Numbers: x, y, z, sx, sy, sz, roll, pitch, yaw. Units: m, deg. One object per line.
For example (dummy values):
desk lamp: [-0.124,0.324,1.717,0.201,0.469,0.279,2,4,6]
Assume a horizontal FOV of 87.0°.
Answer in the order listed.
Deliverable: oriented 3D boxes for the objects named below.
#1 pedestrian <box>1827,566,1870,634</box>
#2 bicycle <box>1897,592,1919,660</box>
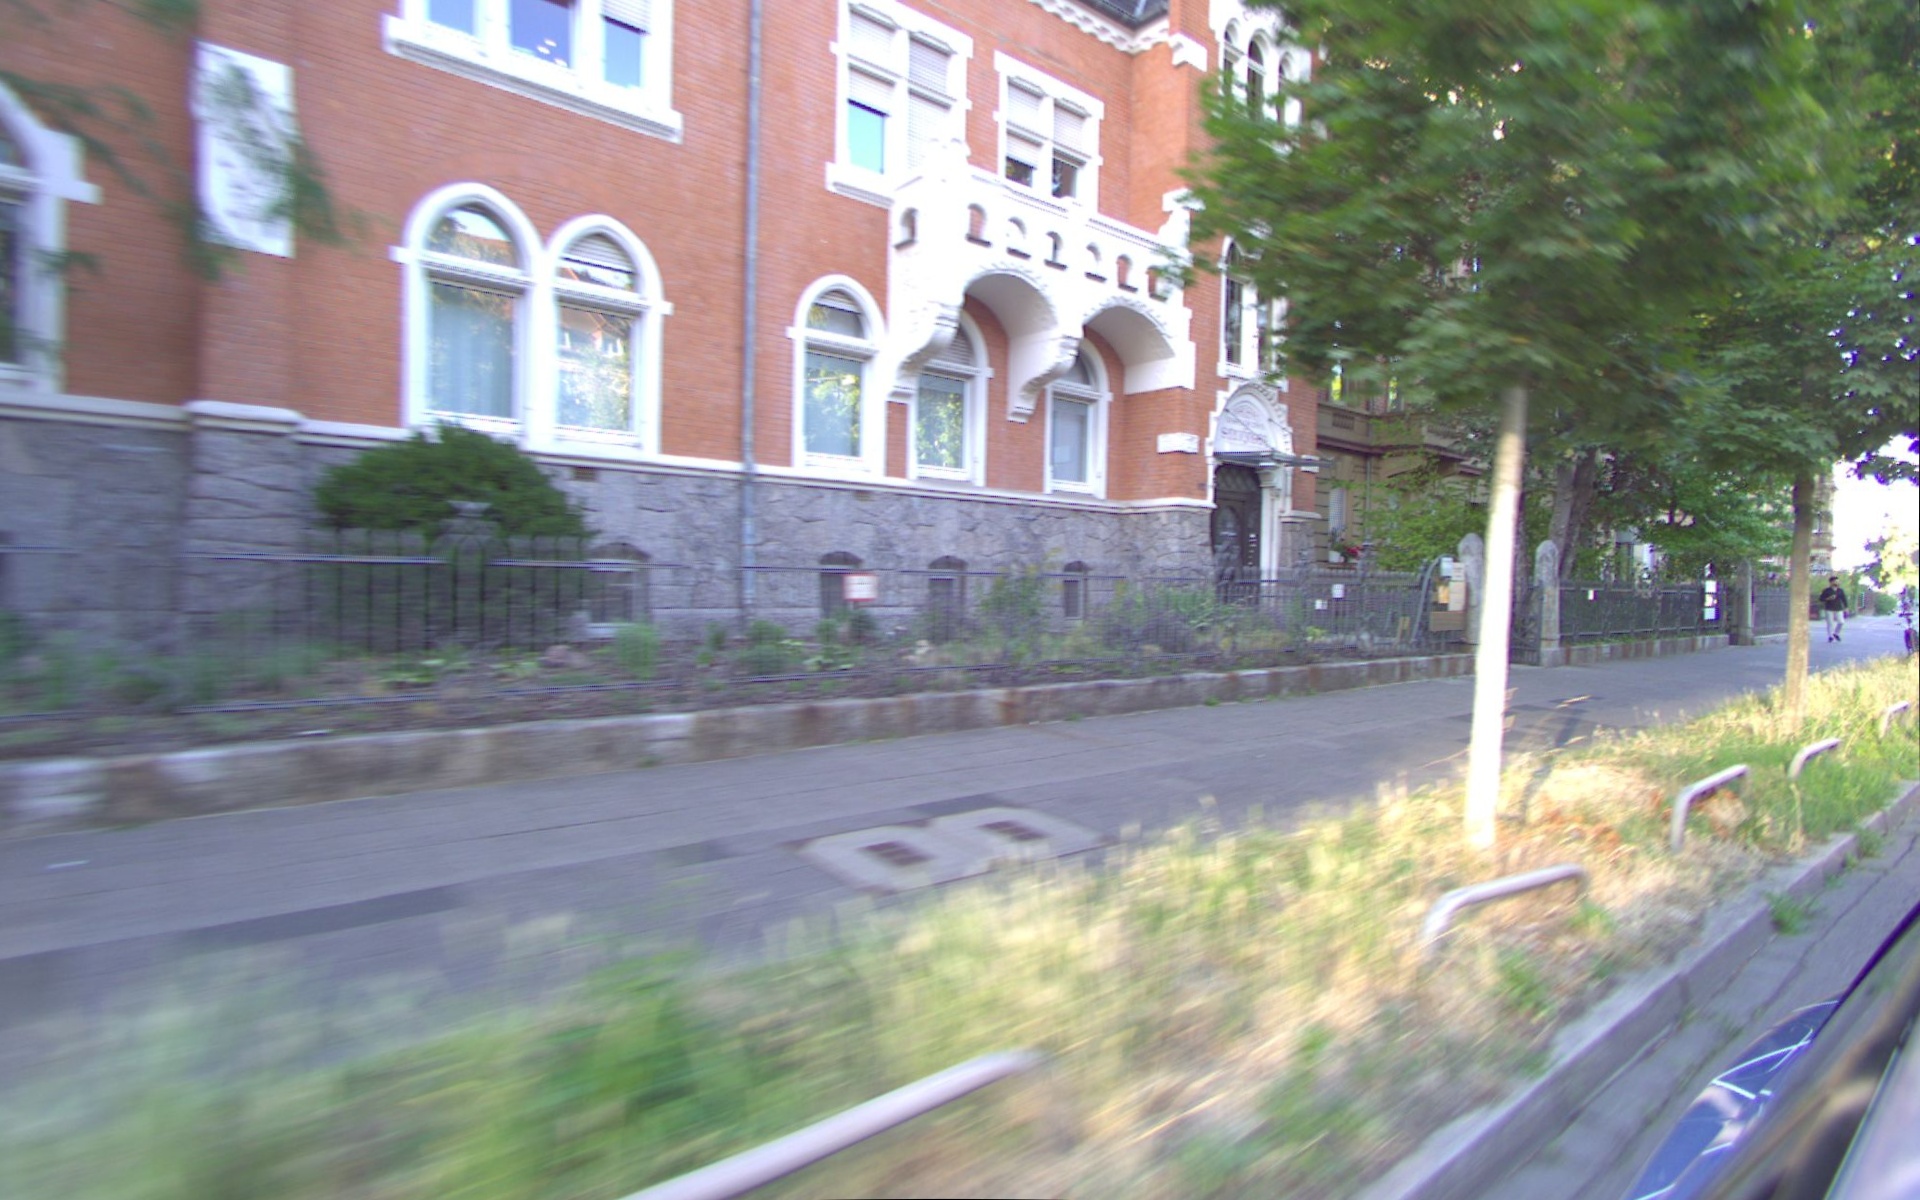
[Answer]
pedestrian: [24.556,-0.001,27.976,0.746,1.800,0.818,6,4,43]
bicycle: [17.305,0.444,18.125,1.899,1.182,0.646,0,0,-44]
